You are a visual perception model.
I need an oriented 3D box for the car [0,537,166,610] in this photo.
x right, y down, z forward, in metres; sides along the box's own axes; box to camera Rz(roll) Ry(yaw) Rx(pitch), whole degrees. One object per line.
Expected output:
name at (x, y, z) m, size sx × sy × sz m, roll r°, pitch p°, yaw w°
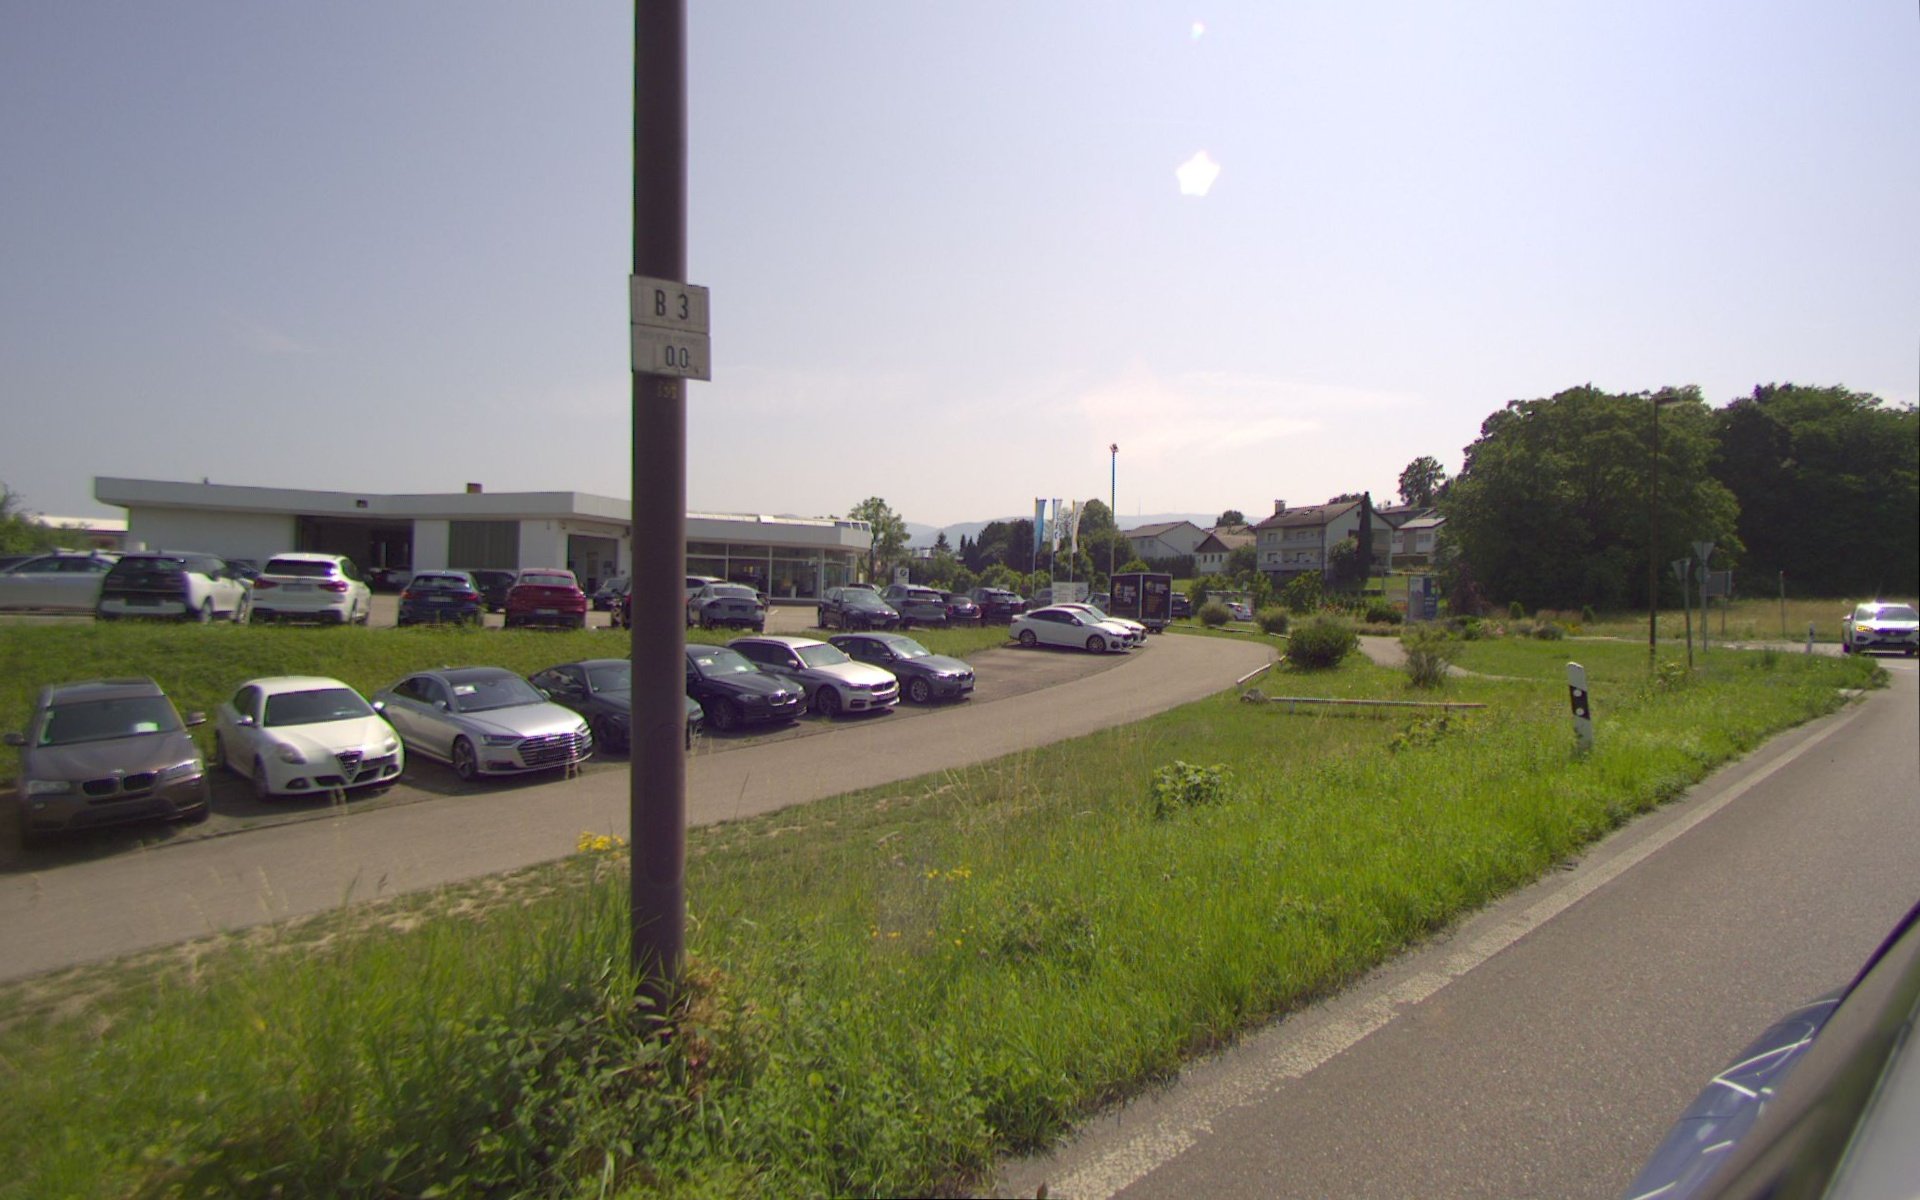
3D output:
car at (-21.778, -0.637, 24.033) m, size 4.214 × 1.616 × 1.927 m, roll 1°, pitch 1°, yaw -24°

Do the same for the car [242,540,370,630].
car at (-14.340, -0.354, 22.423) m, size 1.801 × 1.769 × 4.476 m, roll 1°, pitch 1°, yaw -26°

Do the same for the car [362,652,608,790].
car at (-7.976, 1.871, 16.855) m, size 4.412 × 1.482 × 1.898 m, roll 4°, pitch 5°, yaw 37°

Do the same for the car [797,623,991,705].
car at (-1.649, 1.477, 24.506) m, size 4.538 × 1.438 × 1.764 m, roll 3°, pitch 5°, yaw 32°

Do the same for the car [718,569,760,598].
car at (-13.466, -1.023, 61.576) m, size 1.869 × 1.606 × 4.050 m, roll 1°, pitch 1°, yaw -20°

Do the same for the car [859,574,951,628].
car at (-2.072, -0.003, 37.184) m, size 1.909 × 1.771 × 4.017 m, roll 1°, pitch 2°, yaw -26°

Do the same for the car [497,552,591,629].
car at (-10.676, -0.266, 25.796) m, size 1.909 × 1.769 × 4.476 m, roll 1°, pitch 1°, yaw -26°

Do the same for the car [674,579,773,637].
car at (-7.098, 0.196, 30.056) m, size 1.909 × 1.518 × 4.476 m, roll 1°, pitch 1°, yaw -26°

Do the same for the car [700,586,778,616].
car at (-9.268, 0.043, 42.346) m, size 2.933 × 1.124 × 1.609 m, roll 2°, pitch 1°, yaw 33°

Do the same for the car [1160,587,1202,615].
car at (13.078, 0.031, 60.081) m, size 1.877 × 1.531 × 4.369 m, roll 2°, pitch 1°, yaw 6°

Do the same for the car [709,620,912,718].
car at (-3.415, 1.457, 22.717) m, size 4.547 × 1.584 × 1.898 m, roll 4°, pitch 5°, yaw 37°

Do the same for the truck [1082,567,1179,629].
truck at (7.929, -0.161, 47.809) m, size 1.908 × 2.698 × 5.640 m, roll 2°, pitch 1°, yaw -20°

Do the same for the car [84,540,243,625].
car at (-16.094, -0.371, 20.671) m, size 1.732 × 1.552 × 3.895 m, roll 1°, pitch 1°, yaw -26°

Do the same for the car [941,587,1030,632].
car at (1.009, 0.343, 42.476) m, size 1.909 × 1.518 × 4.436 m, roll 0°, pitch 4°, yaw -26°

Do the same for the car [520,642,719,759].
car at (-6.473, 1.765, 19.013) m, size 1.892 × 1.429 × 4.252 m, roll -3°, pitch 6°, yaw -44°

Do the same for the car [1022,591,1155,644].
car at (4.823, 0.612, 38.202) m, size 4.618 × 1.589 × 1.753 m, roll 4°, pitch 2°, yaw 25°

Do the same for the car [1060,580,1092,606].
car at (7.168, -0.441, 62.902) m, size 1.877 × 1.531 × 4.369 m, roll 2°, pitch 1°, yaw 6°

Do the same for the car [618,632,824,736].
car at (-5.007, 1.643, 20.985) m, size 4.238 × 1.500 × 1.898 m, roll 4°, pitch 5°, yaw 37°

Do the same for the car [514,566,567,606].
car at (-17.350, -0.609, 42.048) m, size 1.908 × 1.541 × 4.478 m, roll 1°, pitch 1°, yaw -21°

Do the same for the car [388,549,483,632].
car at (-12.359, -0.254, 24.012) m, size 1.801 × 1.769 × 4.476 m, roll 1°, pitch 1°, yaw -26°

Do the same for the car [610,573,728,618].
car at (-11.517, -0.193, 40.056) m, size 4.204 × 1.606 × 1.652 m, roll 2°, pitch 1°, yaw 13°

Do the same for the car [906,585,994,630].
car at (-0.470, 0.268, 40.148) m, size 1.909 × 1.518 × 4.017 m, roll 2°, pitch 2°, yaw -26°

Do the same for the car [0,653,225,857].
car at (-11.493, 1.867, 13.611) m, size 1.968 × 1.769 × 4.252 m, roll -3°, pitch 5°, yaw -44°

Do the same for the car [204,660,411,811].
car at (-10.129, 1.924, 15.577) m, size 1.844 × 1.483 × 4.252 m, roll -3°, pitch 5°, yaw -44°

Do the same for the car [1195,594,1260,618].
car at (19.442, 0.491, 73.651) m, size 2.090 × 1.637 × 4.194 m, roll 3°, pitch -3°, yaw -38°

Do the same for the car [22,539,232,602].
car at (-23.486, -0.809, 28.763) m, size 4.214 × 1.616 × 1.927 m, roll 1°, pitch 1°, yaw -24°

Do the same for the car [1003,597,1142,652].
car at (3.920, 0.808, 35.495) m, size 4.541 × 1.590 × 1.749 m, roll 3°, pitch 2°, yaw 31°

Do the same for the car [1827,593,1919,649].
car at (29.679, 0.640, 32.292) m, size 2.179 × 1.673 × 5.065 m, roll 0°, pitch -1°, yaw 30°

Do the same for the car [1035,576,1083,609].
car at (5.400, -0.431, 55.804) m, size 1.871 × 1.701 × 3.824 m, roll 2°, pitch 1°, yaw -6°

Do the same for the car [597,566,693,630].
car at (-8.980, -0.095, 28.603) m, size 1.909 × 1.655 × 4.476 m, roll 1°, pitch 1°, yaw -26°

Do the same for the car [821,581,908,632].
car at (-3.290, 0.170, 34.074) m, size 1.908 × 1.545 × 4.018 m, roll 1°, pitch 1°, yaw -20°
